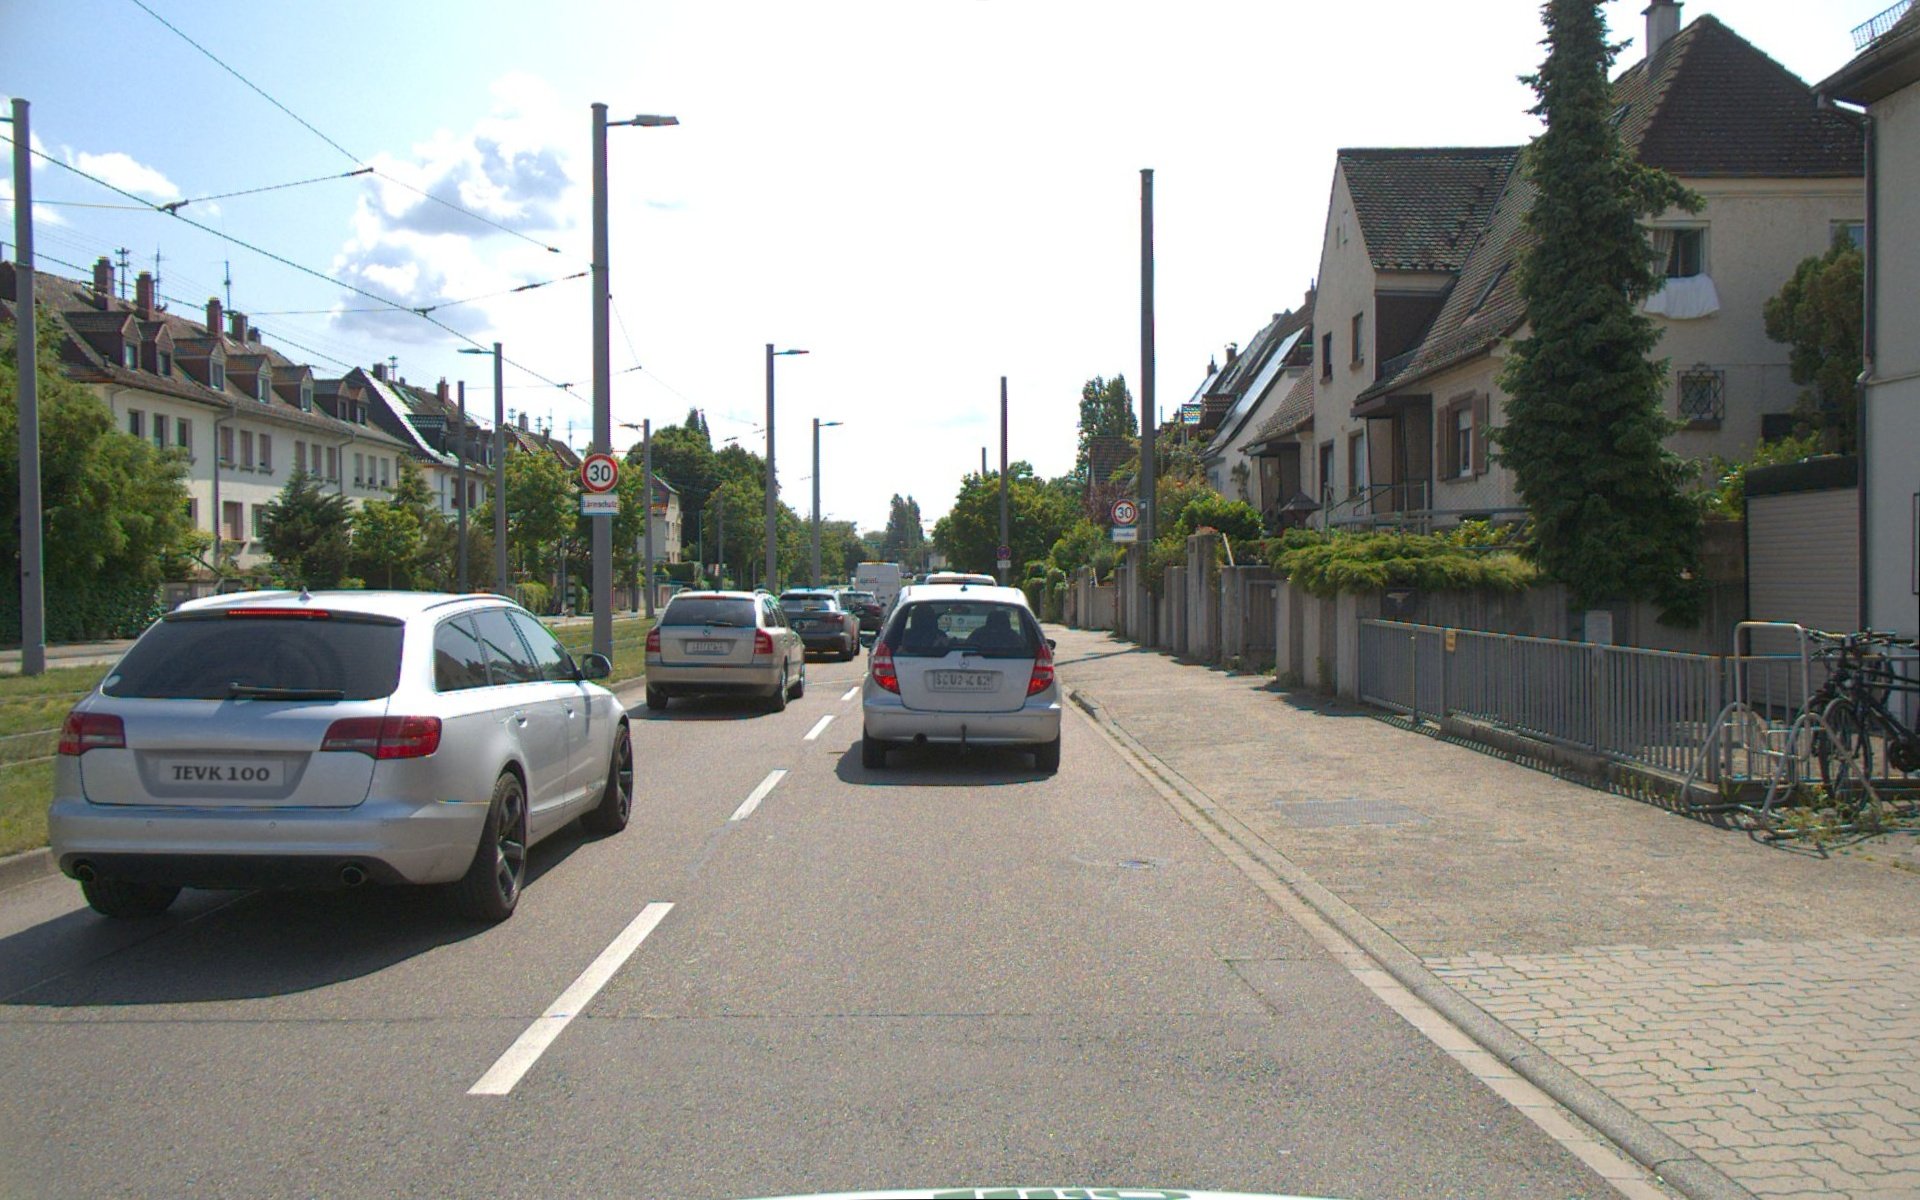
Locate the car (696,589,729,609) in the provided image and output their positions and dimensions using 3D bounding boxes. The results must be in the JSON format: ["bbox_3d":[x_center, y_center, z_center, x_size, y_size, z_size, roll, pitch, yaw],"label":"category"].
[{"bbox_3d":[-19.770,-0.106,132.118,1.877,1.503,4.563,1,0,1],"label":"car"}]

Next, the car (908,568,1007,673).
[{"bbox_3d":[-0.052,0.351,30.821,1.694,1.793,4.016,1,0,0],"label":"car"}]

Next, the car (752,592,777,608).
[{"bbox_3d":[-19.763,0.008,167.130,1.877,1.503,4.563,1,0,1],"label":"car"}]

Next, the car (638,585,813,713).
[{"bbox_3d":[-2.944,0.569,21.508,1.696,1.474,4.122,1,0,-1],"label":"car"}]

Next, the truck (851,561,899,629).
[{"bbox_3d":[-3.416,-0.216,67.020,1.815,2.597,5.852,1,0,-2],"label":"truck"}]

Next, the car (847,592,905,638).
[{"bbox_3d":[-2.732,0.453,54.265,1.815,1.412,4.512,1,0,-3],"label":"car"}]

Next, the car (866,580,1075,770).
[{"bbox_3d":[0.001,0.611,15.674,1.695,1.543,4.014,1,0,-3],"label":"car"}]

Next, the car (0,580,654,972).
[{"bbox_3d":[-2.886,0.660,8.768,1.758,1.497,4.721,0,1,-2],"label":"car"}]

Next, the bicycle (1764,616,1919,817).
[{"bbox_3d":[6.362,0.659,10.011,2.608,1.124,0.786,-1,0,-2],"label":"bicycle"}]

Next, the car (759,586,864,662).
[{"bbox_3d":[-3.151,0.462,35.912,1.877,1.503,4.562,1,0,-1],"label":"car"}]

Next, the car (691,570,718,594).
[{"bbox_3d":[-25.719,-1.773,166.527,1.877,2.371,4.563,1,0,1],"label":"car"}]

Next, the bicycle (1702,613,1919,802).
[{"bbox_3d":[6.325,0.663,10.768,2.671,1.139,0.691,-1,0,-2],"label":"bicycle"}]
